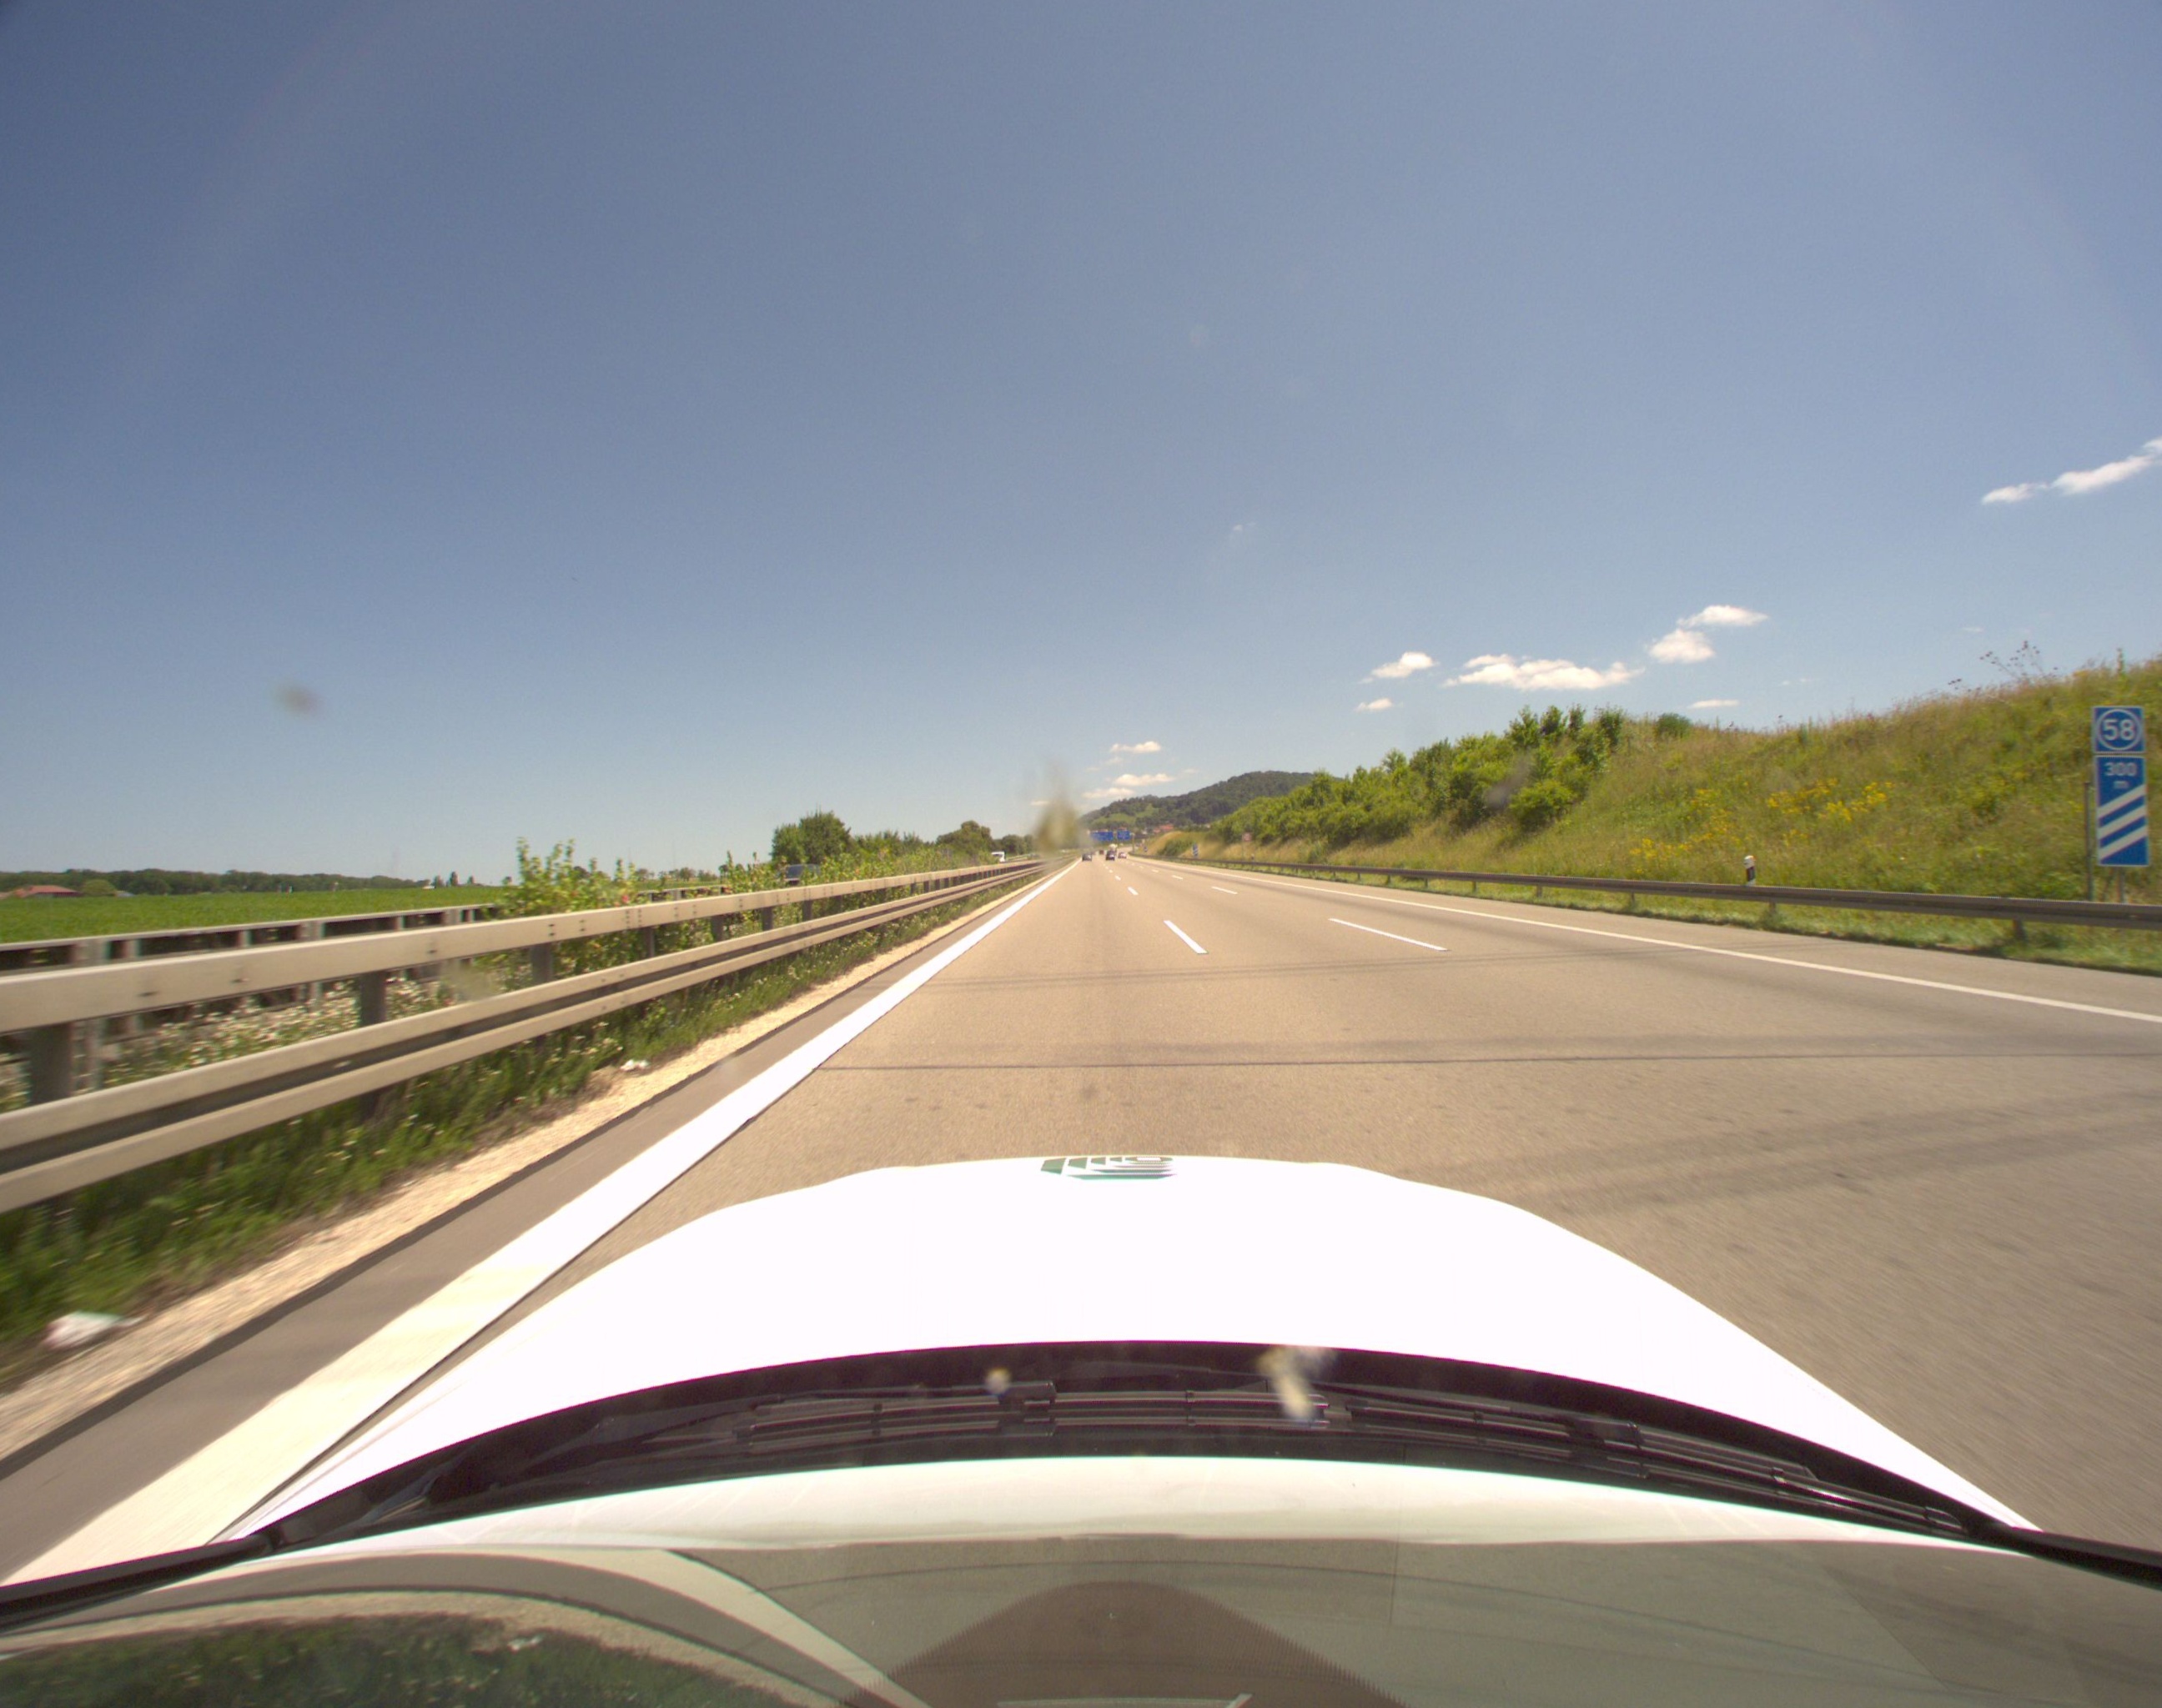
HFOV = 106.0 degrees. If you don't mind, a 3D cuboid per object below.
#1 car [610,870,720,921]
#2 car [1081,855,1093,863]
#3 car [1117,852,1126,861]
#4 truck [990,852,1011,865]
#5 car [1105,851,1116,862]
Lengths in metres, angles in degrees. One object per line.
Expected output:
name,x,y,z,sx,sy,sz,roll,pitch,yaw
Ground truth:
car,-15.000,1.434,29.644,1.816,1.693,4.002,0,-1,2
car,1.119,0.838,143.377,1.986,1.389,4.001,0,-1,1
car,9.682,0.600,192.992,1.986,1.818,4.001,-3,0,1
truck,-12.080,0.647,122.287,2.419,1.837,5.729,0,-1,2
car,5.340,0.500,149.237,1.986,2.014,4.001,0,-1,1
